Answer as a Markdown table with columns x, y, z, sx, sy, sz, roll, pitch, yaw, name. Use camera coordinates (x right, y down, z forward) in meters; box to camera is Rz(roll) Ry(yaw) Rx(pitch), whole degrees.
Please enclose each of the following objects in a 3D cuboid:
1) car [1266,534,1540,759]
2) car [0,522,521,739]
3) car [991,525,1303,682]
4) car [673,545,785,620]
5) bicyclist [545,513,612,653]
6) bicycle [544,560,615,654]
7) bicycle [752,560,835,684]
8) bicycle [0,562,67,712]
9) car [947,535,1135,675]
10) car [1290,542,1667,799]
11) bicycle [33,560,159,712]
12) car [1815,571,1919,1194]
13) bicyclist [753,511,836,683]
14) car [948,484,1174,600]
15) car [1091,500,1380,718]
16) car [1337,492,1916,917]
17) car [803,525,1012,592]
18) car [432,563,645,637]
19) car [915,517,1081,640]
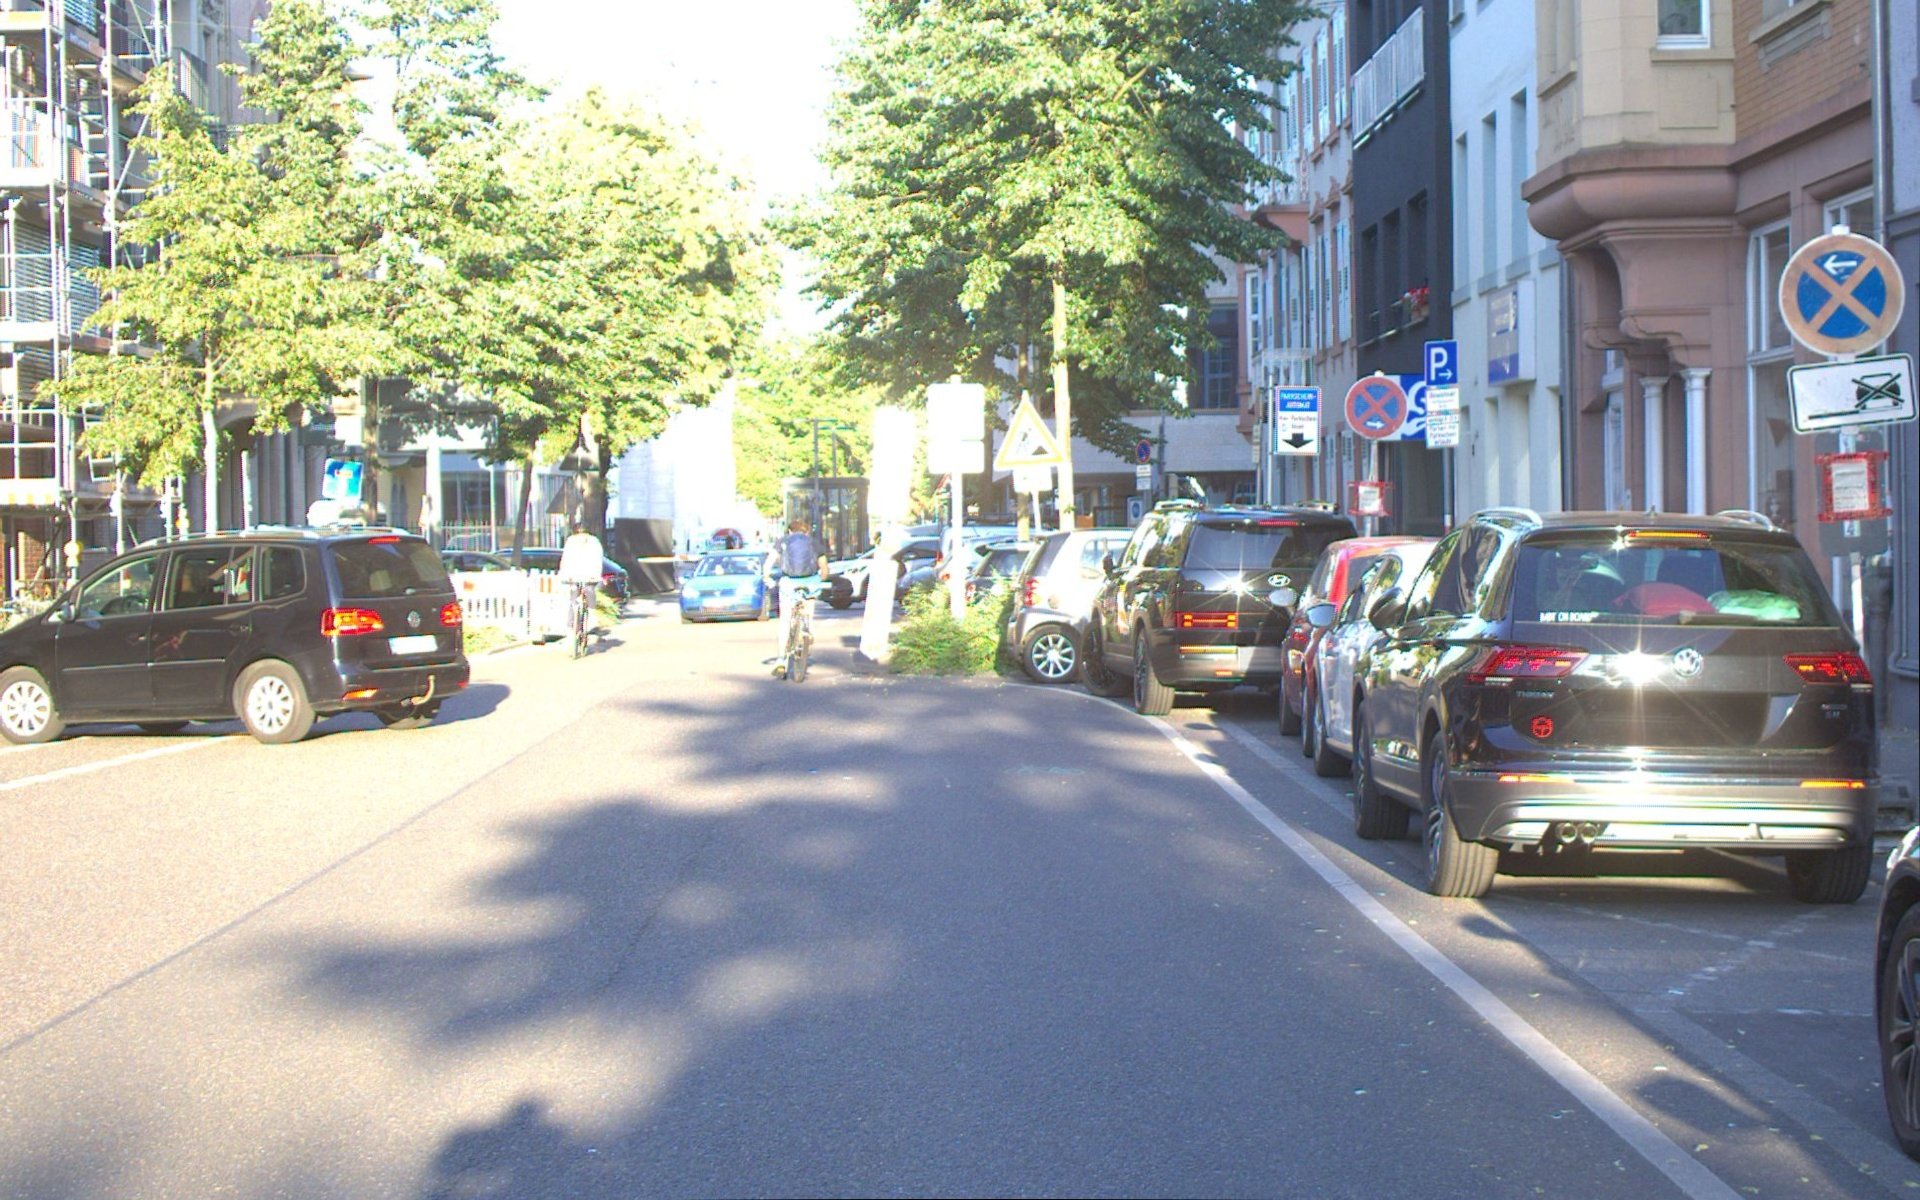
| x | y | z | sx | sy | sz | roll | pitch | yaw | name |
| --- | --- | --- | --- | --- | --- | --- | --- | --- | --- |
| 3.081 | 0.292 | 24.452 | 1.587 | 1.478 | 3.266 | 1 | 1 | 1 | car |
| -5.941 | 0.267 | 27.570 | 4.502 | 1.596 | 1.997 | -2 | -1 | 31 | car |
| 1.863 | 0.029 | 34.759 | 2.968 | 1.531 | 1.434 | 0 | 1 | -4 | car |
| -4.599 | -0.363 | 69.026 | 1.838 | 1.436 | 4.331 | 1 | 1 | 1 | car |
| -5.057 | -0.231 | 45.625 | 0.780 | 1.823 | 1.007 | -2 | 1 | -3 | bicyclist |
| -5.038 | 0.083 | 45.641 | 0.780 | 1.200 | 2.021 | -2 | 1 | -3 | bicycle |
| -1.685 | 0.208 | 34.817 | 0.780 | 1.200 | 2.021 | -2 | 1 | -3 | bicycle |
| -9.208 | 0.324 | 33.255 | 0.780 | 1.368 | 3.143 | 0 | 1 | -9 | bicycle |
| 0.966 | 0.032 | 43.605 | 1.993 | 1.662 | 4.510 | 1 | 1 | -3 | car |
| 2.990 | 0.358 | 20.505 | 1.666 | 1.373 | 3.803 | 1 | 1 | 0 | car |
| -8.360 | 0.314 | 33.395 | 0.892 | 1.391 | 3.167 | -1 | 1 | -9 | bicycle |
| 3.170 | 0.696 | 7.030 | 1.762 | 1.478 | 4.307 | 1 | 1 | 0 | car |
| -1.680 | -0.038 | 34.829 | 0.780 | 1.690 | 1.007 | -2 | 1 | -3 | bicyclist |
| 1.859 | -1.057 | 62.245 | 3.987 | 2.007 | 2.000 | -1 | 1 | 4 | car |
| 2.240 | 0.044 | 29.079 | 1.824 | 1.689 | 4.369 | 1 | 1 | -3 | car |
| 2.865 | 0.388 | 15.692 | 1.812 | 1.662 | 4.206 | 1 | 1 | 0 | car |
| -1.173 | -0.926 | 77.821 | 4.445 | 1.475 | 1.890 | 0 | 1 | -37 | car |
| -8.614 | -0.018 | 70.500 | 4.103 | 1.460 | 1.889 | 1 | 1 | 1 | car |
| 0.578 | -0.376 | 56.990 | 2.265 | 1.760 | 4.510 | 5 | 0 | -4 | car |
